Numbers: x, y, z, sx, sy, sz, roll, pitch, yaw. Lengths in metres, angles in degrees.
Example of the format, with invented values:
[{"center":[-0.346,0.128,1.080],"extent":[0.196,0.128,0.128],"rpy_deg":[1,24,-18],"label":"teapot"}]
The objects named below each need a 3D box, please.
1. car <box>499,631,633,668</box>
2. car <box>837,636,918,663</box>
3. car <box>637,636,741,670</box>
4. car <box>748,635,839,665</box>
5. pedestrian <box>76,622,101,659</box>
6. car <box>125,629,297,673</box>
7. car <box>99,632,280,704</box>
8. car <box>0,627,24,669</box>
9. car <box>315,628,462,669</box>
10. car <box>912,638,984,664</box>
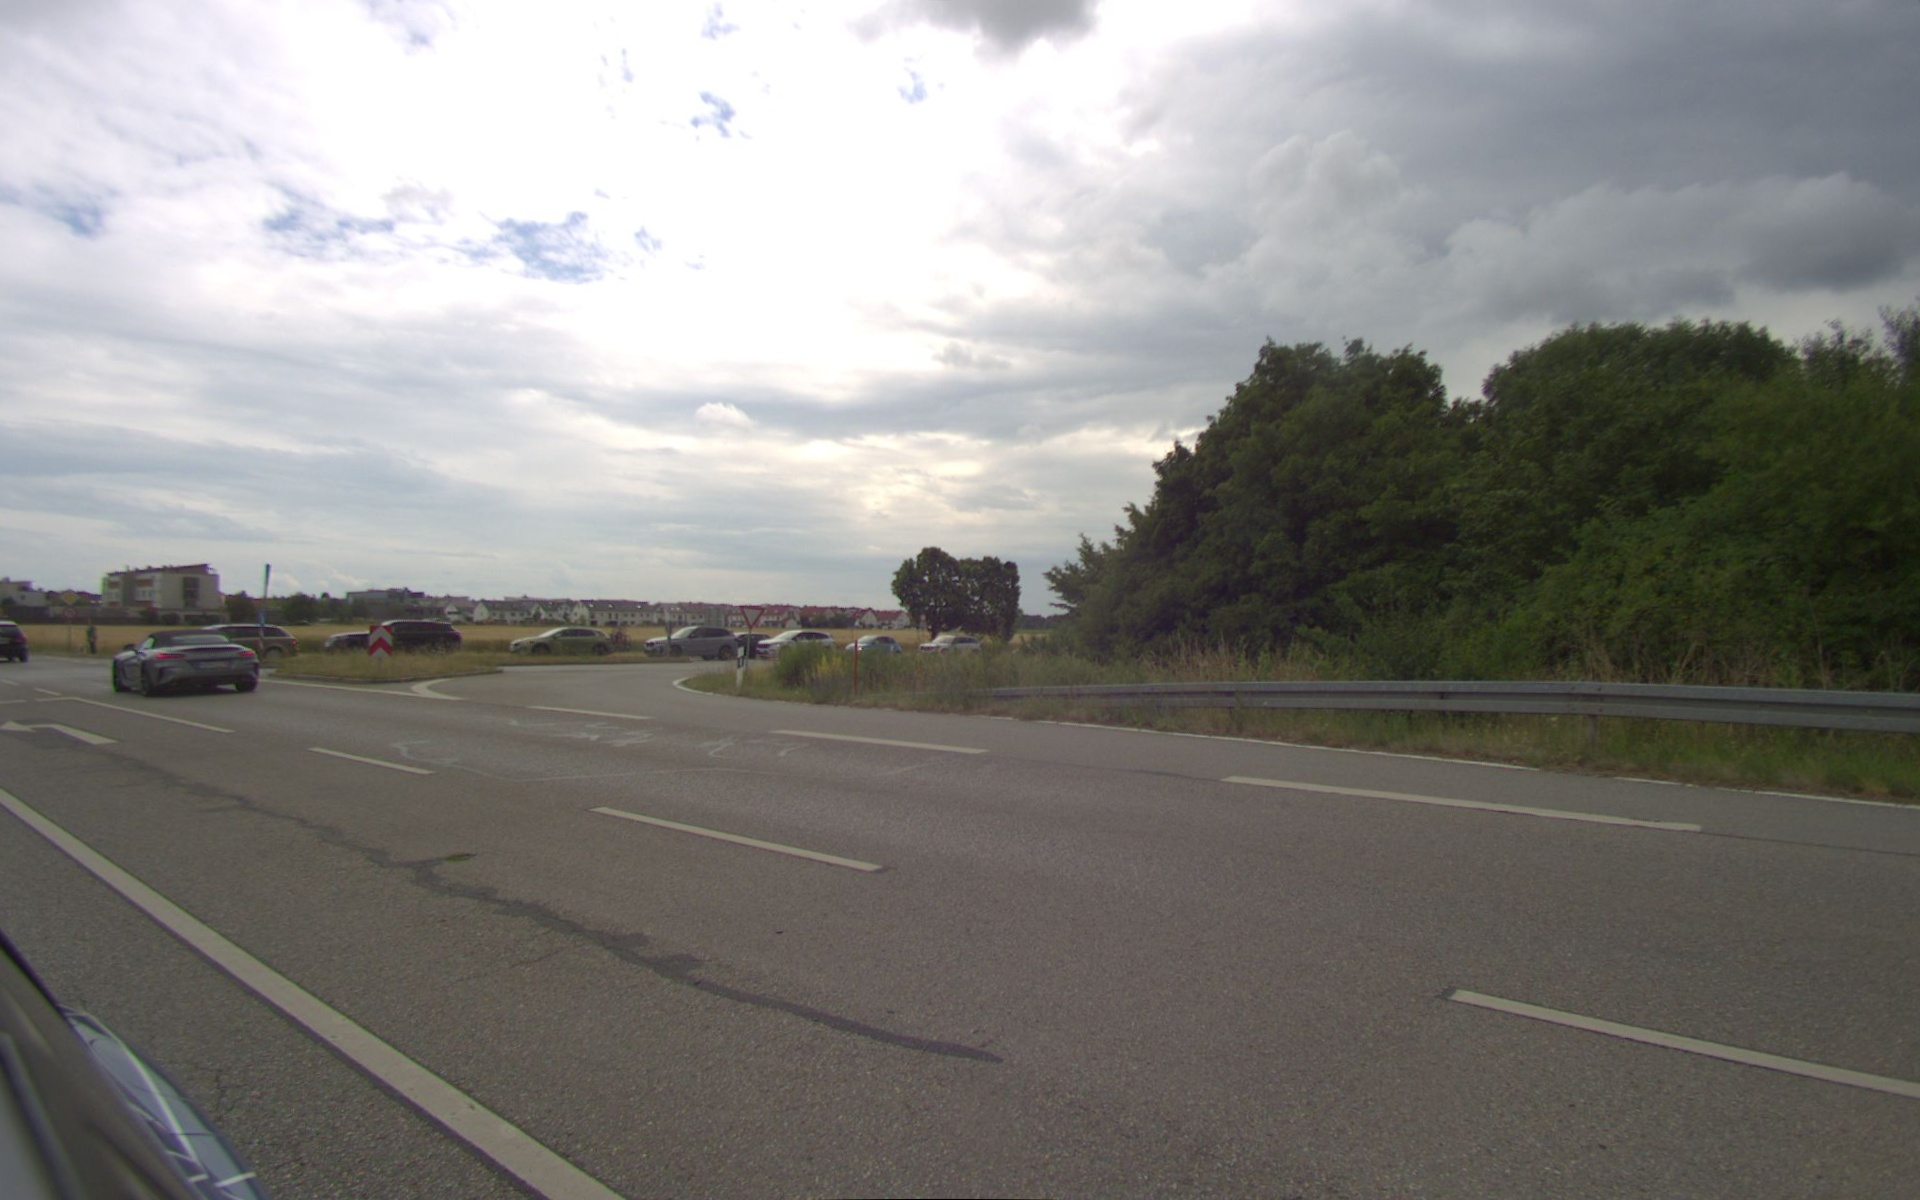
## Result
[{"center":[-17.435,2.167,44.962],"extent":[5.223,1.533,1.912],"rpy_deg":[2,-3,-44],"label":"car"},{"center":[-4.693,2.819,57.912],"extent":[4.438,1.493,1.912],"rpy_deg":[2,-3,-44],"label":"car"},{"center":[-13.176,2.551,49.339],"extent":[4.569,1.528,1.912],"rpy_deg":[2,-3,-44],"label":"car"},{"center":[-8.750,2.599,53.490],"extent":[4.438,1.493,1.912],"rpy_deg":[2,-3,-44],"label":"car"},{"center":[-38.782,1.789,45.050],"extent":[0.865,1.617,0.587],"rpy_deg":[-1,-5,38],"label":"pedestrian"},{"center":[-25.809,1.720,35.030],"extent":[1.905,1.435,4.416],"rpy_deg":[-1,-2,32],"label":"car"},{"center":[-16.314,1.364,21.376],"extent":[4.233,1.294,2.143],"rpy_deg":[-1,-1,39],"label":"car"},{"center":[-37.282,1.828,38.609],"extent":[4.194,1.542,1.725],"rpy_deg":[-2,-2,39],"label":"car"},{"center":[-22.419,1.876,39.806],"extent":[4.684,1.543,1.912],"rpy_deg":[2,-3,-44],"label":"car"},{"center":[-0.706,3.113,62.205],"extent":[1.911,1.493,4.442],"rpy_deg":[-2,-3,43],"label":"car"}]
